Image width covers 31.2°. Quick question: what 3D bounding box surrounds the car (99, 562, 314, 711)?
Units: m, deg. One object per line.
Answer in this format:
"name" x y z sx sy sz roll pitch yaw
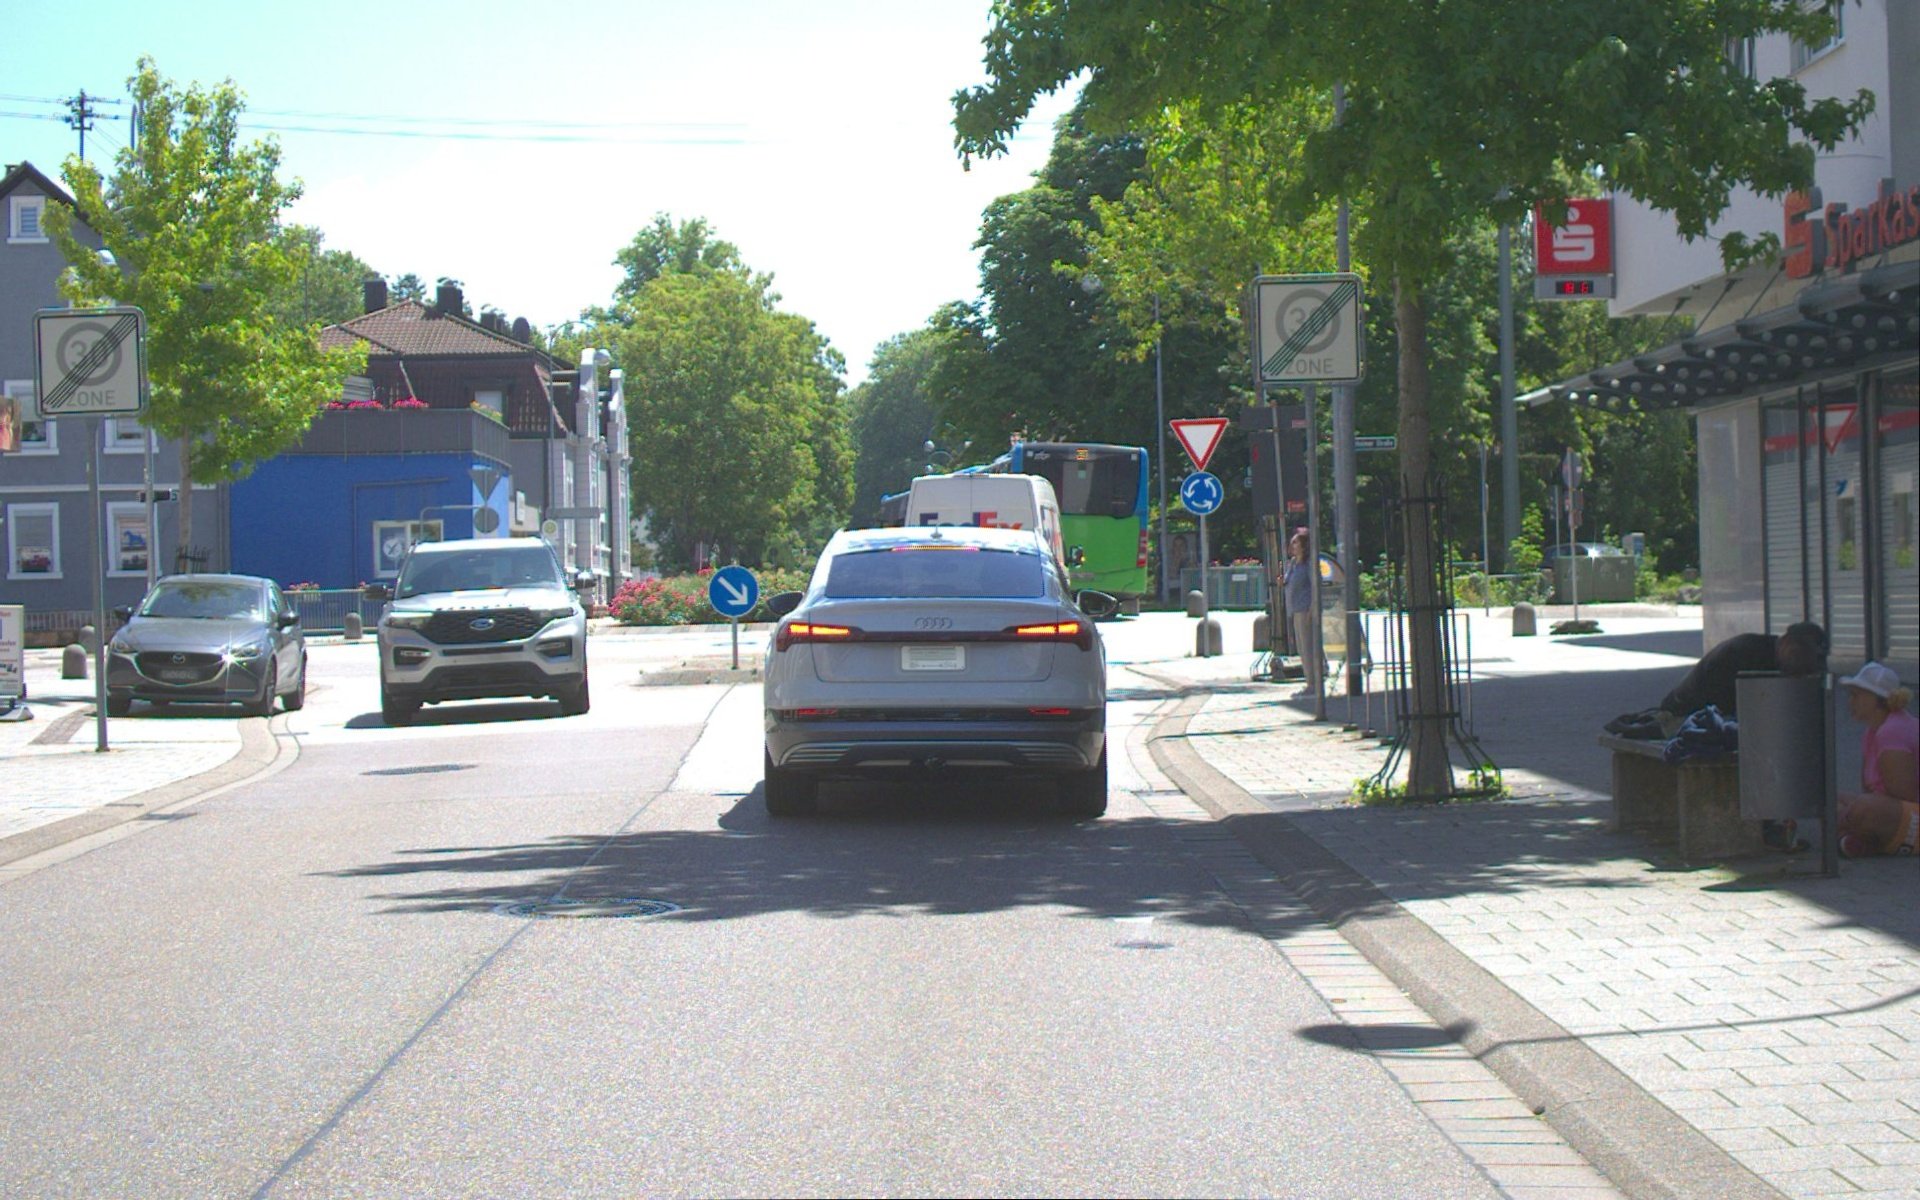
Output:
"car" -8.054 0.352 37.039 1.666 1.481 4.061 1 1 -4

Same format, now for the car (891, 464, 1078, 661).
"car" 0.404 -0.507 46.434 1.994 2.472 5.483 -1 1 5

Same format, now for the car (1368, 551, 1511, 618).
"car" 11.674 -0.386 83.771 3.048 1.547 1.635 -2 1 -14

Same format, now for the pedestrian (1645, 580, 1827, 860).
"pedestrian" 3.547 0.542 15.703 0.761 1.236 0.537 -2 0 14

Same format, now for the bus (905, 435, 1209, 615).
"bus" 1.607 -1.373 70.569 3.705 3.160 18.072 1 0 -6

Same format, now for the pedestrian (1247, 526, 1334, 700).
"pedestrian" 3.108 0.117 32.342 0.732 1.604 0.559 -2 1 1

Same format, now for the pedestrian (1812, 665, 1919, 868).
"pedestrian" 4.101 0.723 15.068 0.678 0.849 0.537 -2 0 14

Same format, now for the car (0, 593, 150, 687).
"car" -16.014 0.687 57.758 4.423 1.452 1.769 -2 1 -4

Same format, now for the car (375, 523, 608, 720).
"car" -4.618 0.174 34.473 1.900 1.748 4.757 -3 1 -4

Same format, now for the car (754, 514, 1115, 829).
"car" -0.139 0.348 20.363 1.898 1.656 4.409 0 1 0
